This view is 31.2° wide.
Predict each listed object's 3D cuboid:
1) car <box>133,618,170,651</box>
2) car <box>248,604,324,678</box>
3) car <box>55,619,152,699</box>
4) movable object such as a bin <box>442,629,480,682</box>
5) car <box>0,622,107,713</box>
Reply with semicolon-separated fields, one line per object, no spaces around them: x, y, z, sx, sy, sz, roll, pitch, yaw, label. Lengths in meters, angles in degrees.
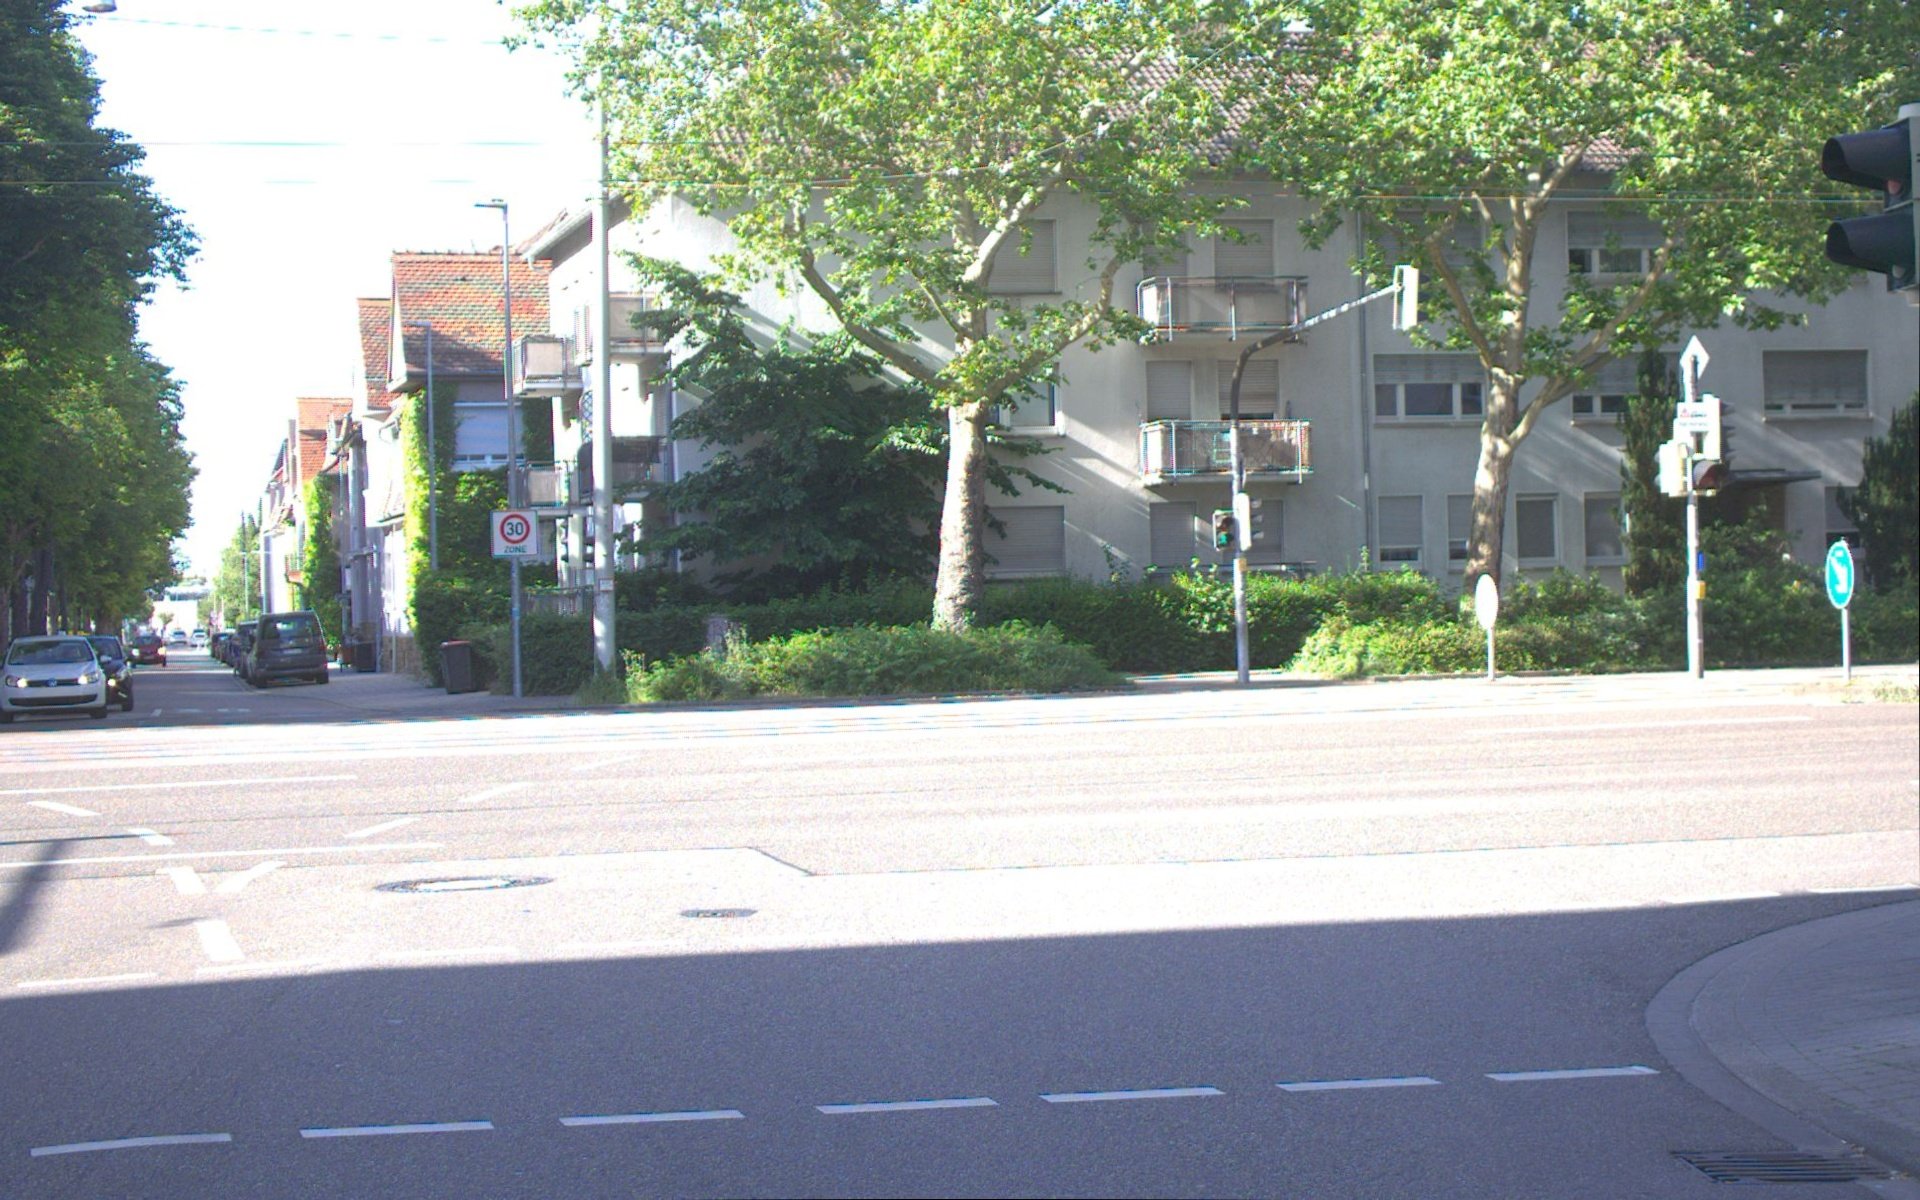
-39.095;1.648;166.290;1.640;1.503;3.703;-3;0;-13;car
-18.231;1.102;92.843;1.864;1.909;4.783;1;-1;-12;car
-16.717;1.140;67.206;1.660;1.459;3.809;-2;0;-12;car
-10.232;1.137;70.472;0.597;1.041;0.707;-5;1;-15;movable object such as a bin
-15.592;1.173;58.920;1.806;1.453;4.001;-2;-1;-14;car
